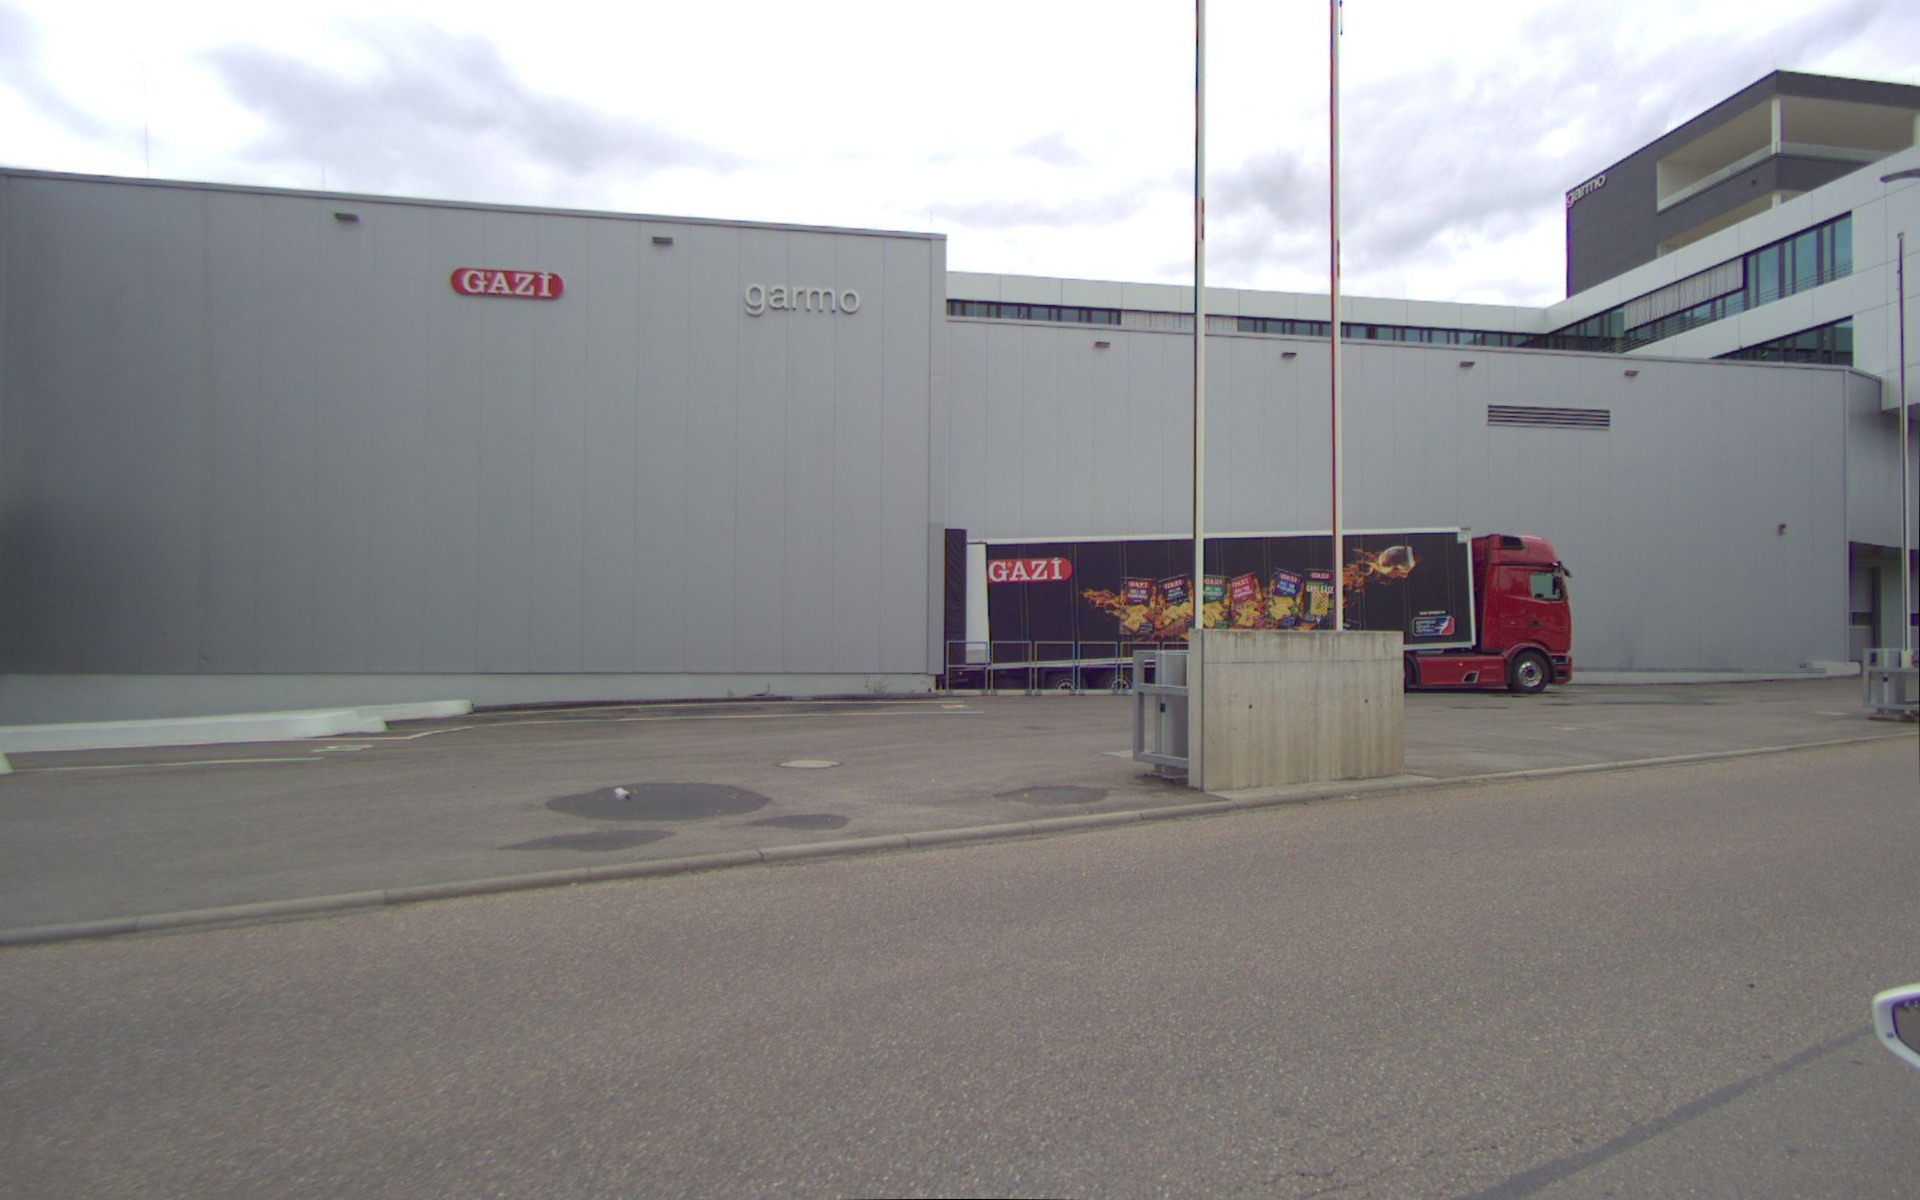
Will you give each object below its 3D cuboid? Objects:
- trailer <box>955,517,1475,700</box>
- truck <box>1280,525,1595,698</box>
[{"bbox_3d":[6.198,0.261,24.776,12.387,4.084,2.747,0,-1,-9],"label":"trailer"},{"bbox_3d":[12.089,0.329,25.710,6.963,4.084,2.747,0,-1,-9],"label":"truck"}]
